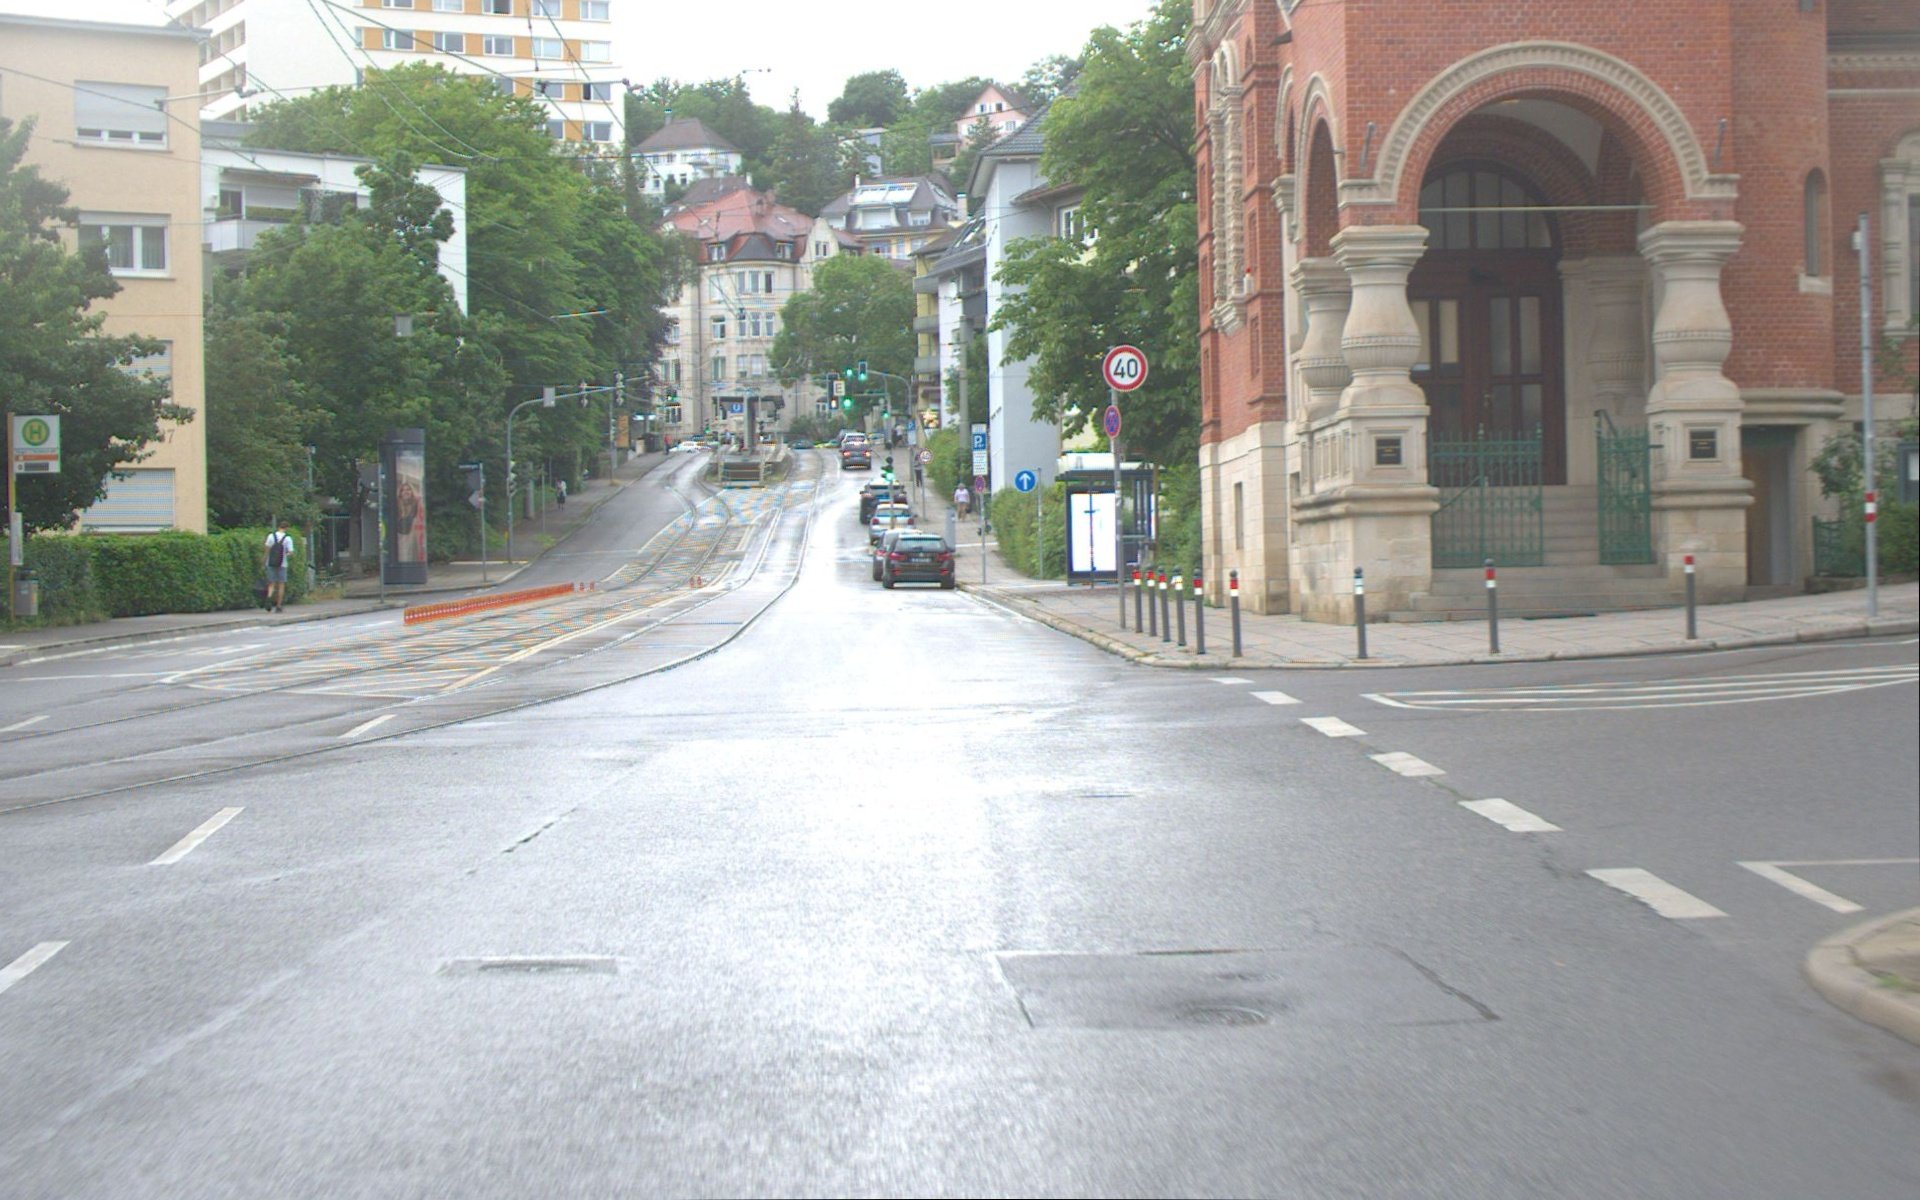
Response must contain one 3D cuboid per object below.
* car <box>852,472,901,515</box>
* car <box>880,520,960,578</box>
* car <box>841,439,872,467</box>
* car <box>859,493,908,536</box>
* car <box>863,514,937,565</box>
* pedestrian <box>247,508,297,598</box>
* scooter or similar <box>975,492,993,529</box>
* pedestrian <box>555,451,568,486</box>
[{"bbox_3d":[-3.475,-4.424,142.478,1.906,1.636,4.691,0,3,-3],"label":"car"},{"bbox_3d":[-1.070,-1.349,89.773,1.857,1.482,4.646,0,1,-3],"label":"car"},{"bbox_3d":[-6.336,-8.982,209.750,1.801,1.640,4.001,0,2,-3],"label":"car"},{"bbox_3d":[-2.829,-3.153,126.231,1.704,1.428,4.103,0,3,-3],"label":"car"},{"bbox_3d":[-1.791,-1.789,101.275,1.939,1.459,4.207,0,1,-4],"label":"car"},{"bbox_3d":[-14.249,-0.974,71.225,0.918,1.839,1.017,0,0,-6],"label":"pedestrian"},{"bbox_3d":[0.874,-3.317,126.945,0.575,1.245,1.610,0,6,3],"label":"scooter or similar"},{"bbox_3d":[-18.357,-6.066,158.398,0.583,1.594,0.869,1,3,-6],"label":"pedestrian"}]
